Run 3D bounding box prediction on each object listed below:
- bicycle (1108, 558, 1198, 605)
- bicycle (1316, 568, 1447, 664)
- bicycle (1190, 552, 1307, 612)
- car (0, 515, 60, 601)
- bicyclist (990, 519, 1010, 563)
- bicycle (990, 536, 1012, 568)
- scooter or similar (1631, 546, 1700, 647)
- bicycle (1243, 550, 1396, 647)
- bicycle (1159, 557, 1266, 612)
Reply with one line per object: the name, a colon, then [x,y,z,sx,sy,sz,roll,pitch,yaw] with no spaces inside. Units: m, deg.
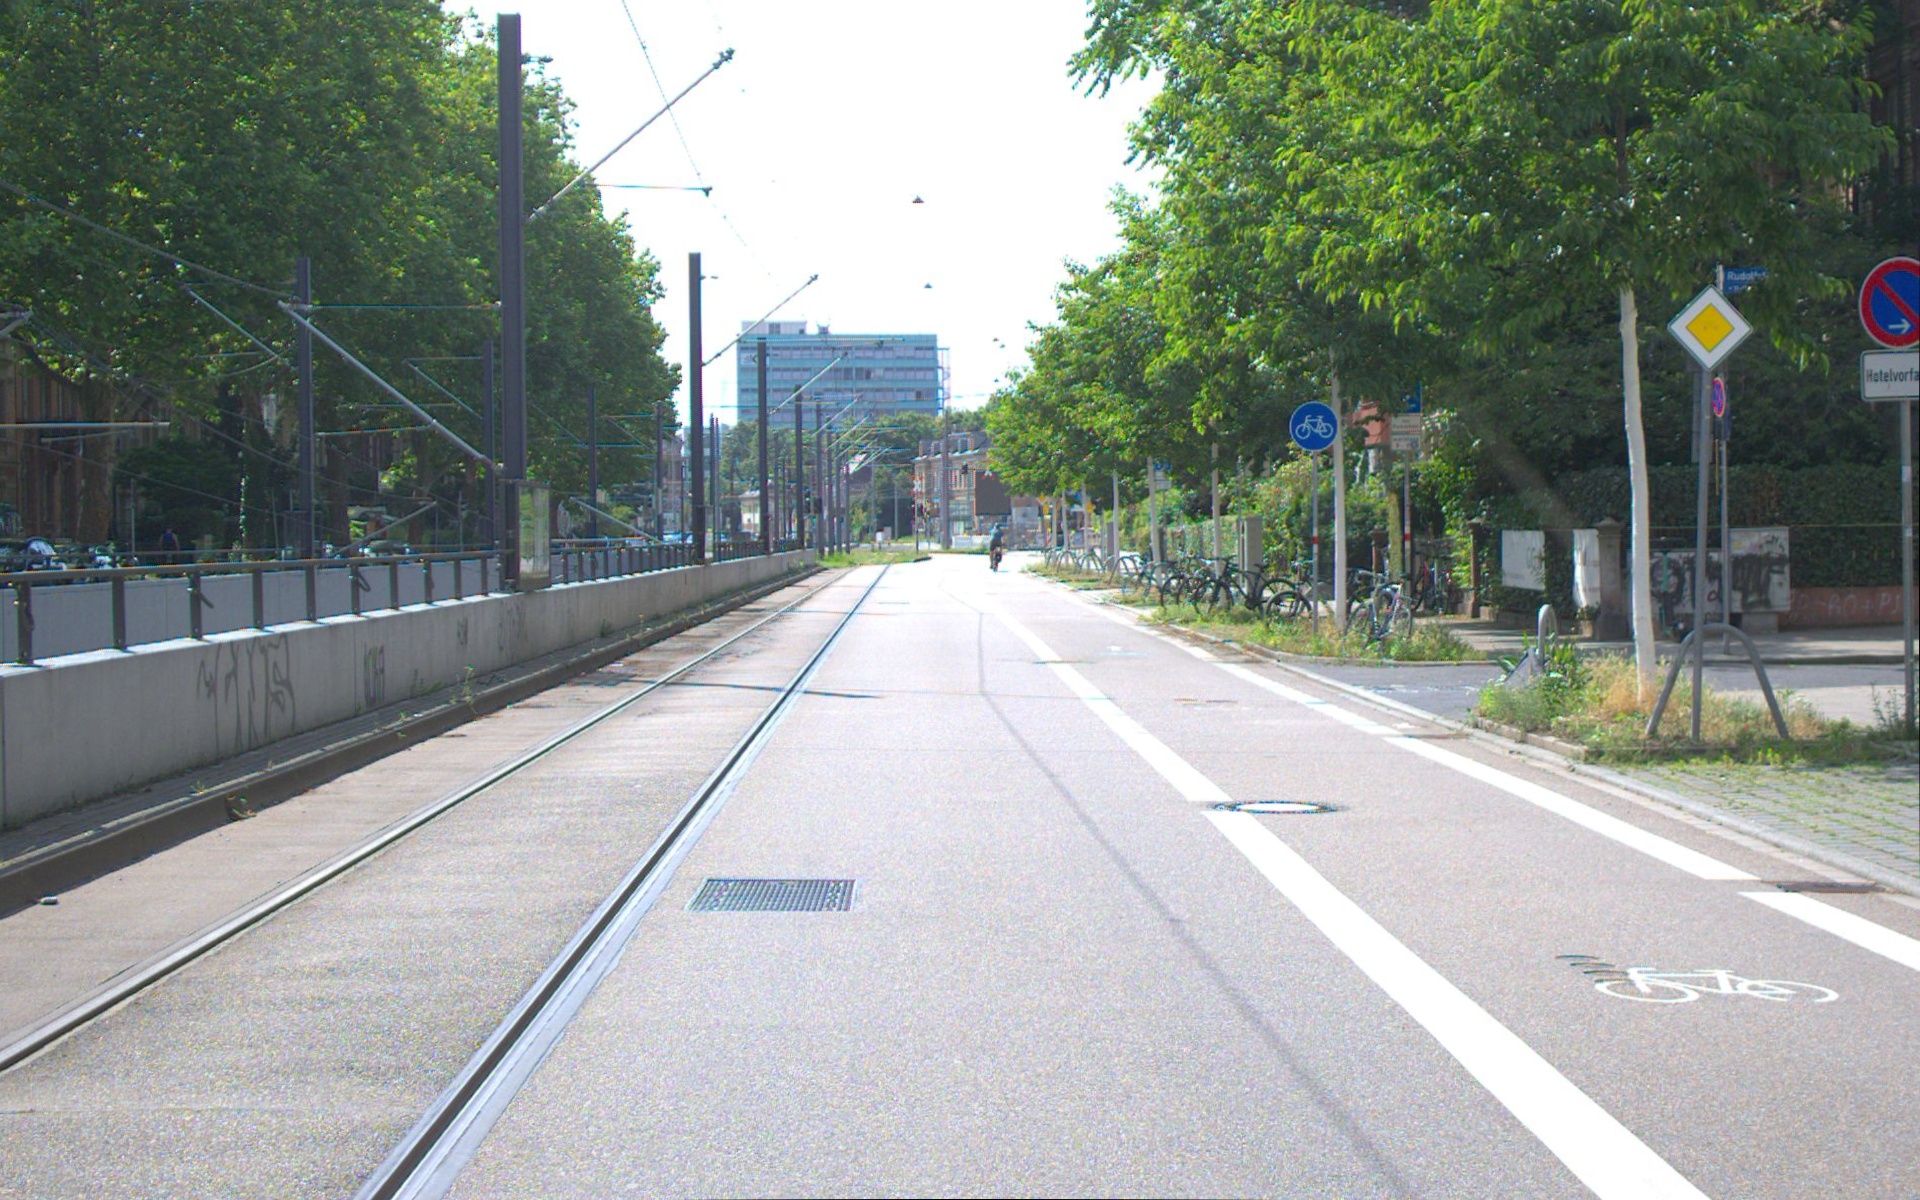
bicycle: [4.109,-0.403,73.367,1.816,0.899,0.604,-3,1,-4]
bicycle: [4.811,0.169,39.354,0.649,1.035,1.822,-3,2,-22]
bicycle: [4.789,-0.301,57.167,1.816,0.899,0.652,-3,1,-4]
car: [-20.318,-0.864,72.009,1.839,1.722,4.000,-3,1,-1]
bicyclist: [1.579,-2.329,136.287,0.770,1.724,1.026,0,1,0]
bicycle: [1.625,-1.923,136.378,0.799,1.232,2.778,0,1,0]
scooter or similar: [8.343,-0.052,40.671,0.461,1.154,1.573,-2,1,0]
bicycle: [4.651,-0.025,44.527,1.815,1.141,0.652,-3,1,-11]
bicycle: [4.555,-0.282,62.103,1.816,0.899,0.604,-3,1,-4]
